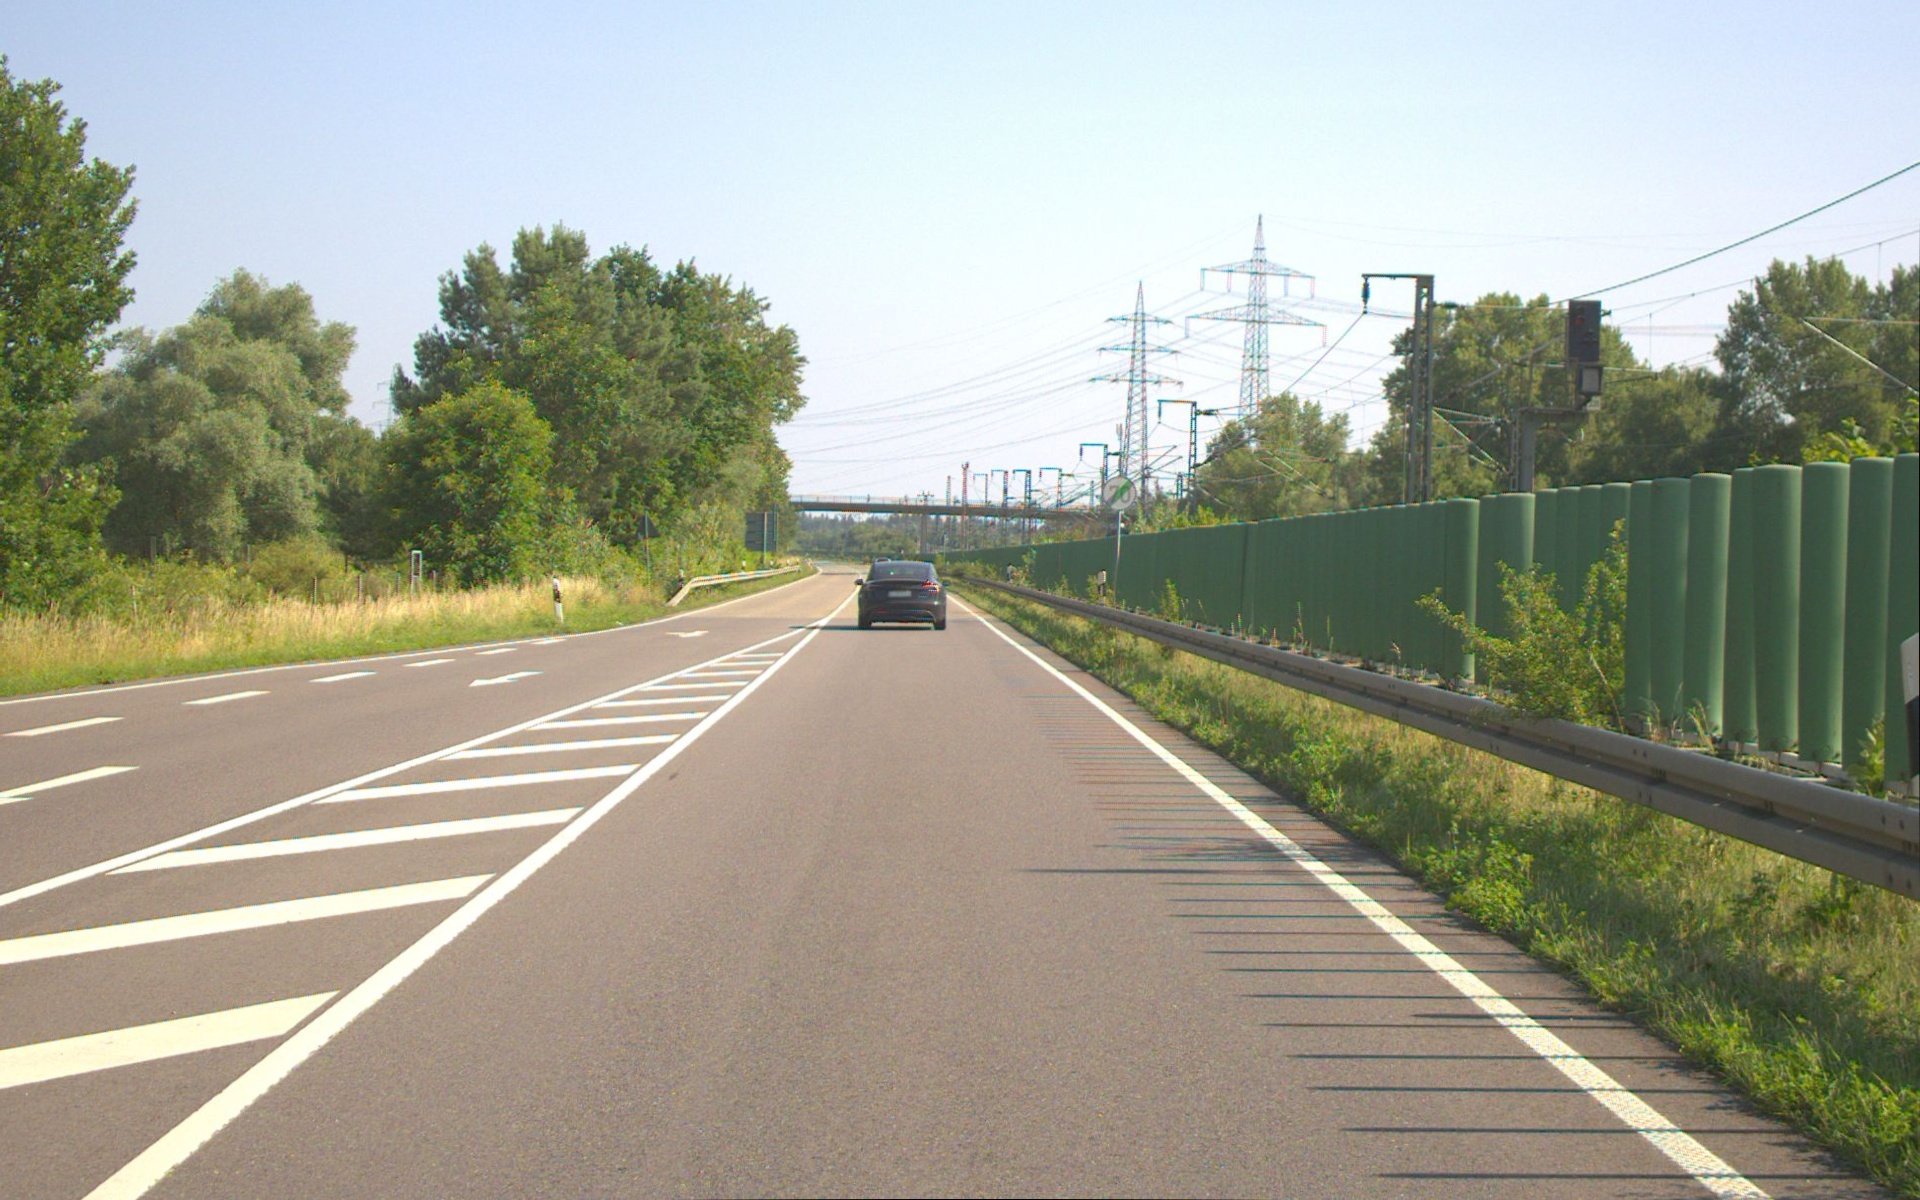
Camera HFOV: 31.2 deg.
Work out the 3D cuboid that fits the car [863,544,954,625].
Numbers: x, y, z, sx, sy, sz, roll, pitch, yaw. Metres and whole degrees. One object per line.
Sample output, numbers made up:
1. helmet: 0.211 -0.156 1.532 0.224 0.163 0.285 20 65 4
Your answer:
1. car: -1.095 -0.346 72.824 1.858 1.636 4.000 -1 1 -1
